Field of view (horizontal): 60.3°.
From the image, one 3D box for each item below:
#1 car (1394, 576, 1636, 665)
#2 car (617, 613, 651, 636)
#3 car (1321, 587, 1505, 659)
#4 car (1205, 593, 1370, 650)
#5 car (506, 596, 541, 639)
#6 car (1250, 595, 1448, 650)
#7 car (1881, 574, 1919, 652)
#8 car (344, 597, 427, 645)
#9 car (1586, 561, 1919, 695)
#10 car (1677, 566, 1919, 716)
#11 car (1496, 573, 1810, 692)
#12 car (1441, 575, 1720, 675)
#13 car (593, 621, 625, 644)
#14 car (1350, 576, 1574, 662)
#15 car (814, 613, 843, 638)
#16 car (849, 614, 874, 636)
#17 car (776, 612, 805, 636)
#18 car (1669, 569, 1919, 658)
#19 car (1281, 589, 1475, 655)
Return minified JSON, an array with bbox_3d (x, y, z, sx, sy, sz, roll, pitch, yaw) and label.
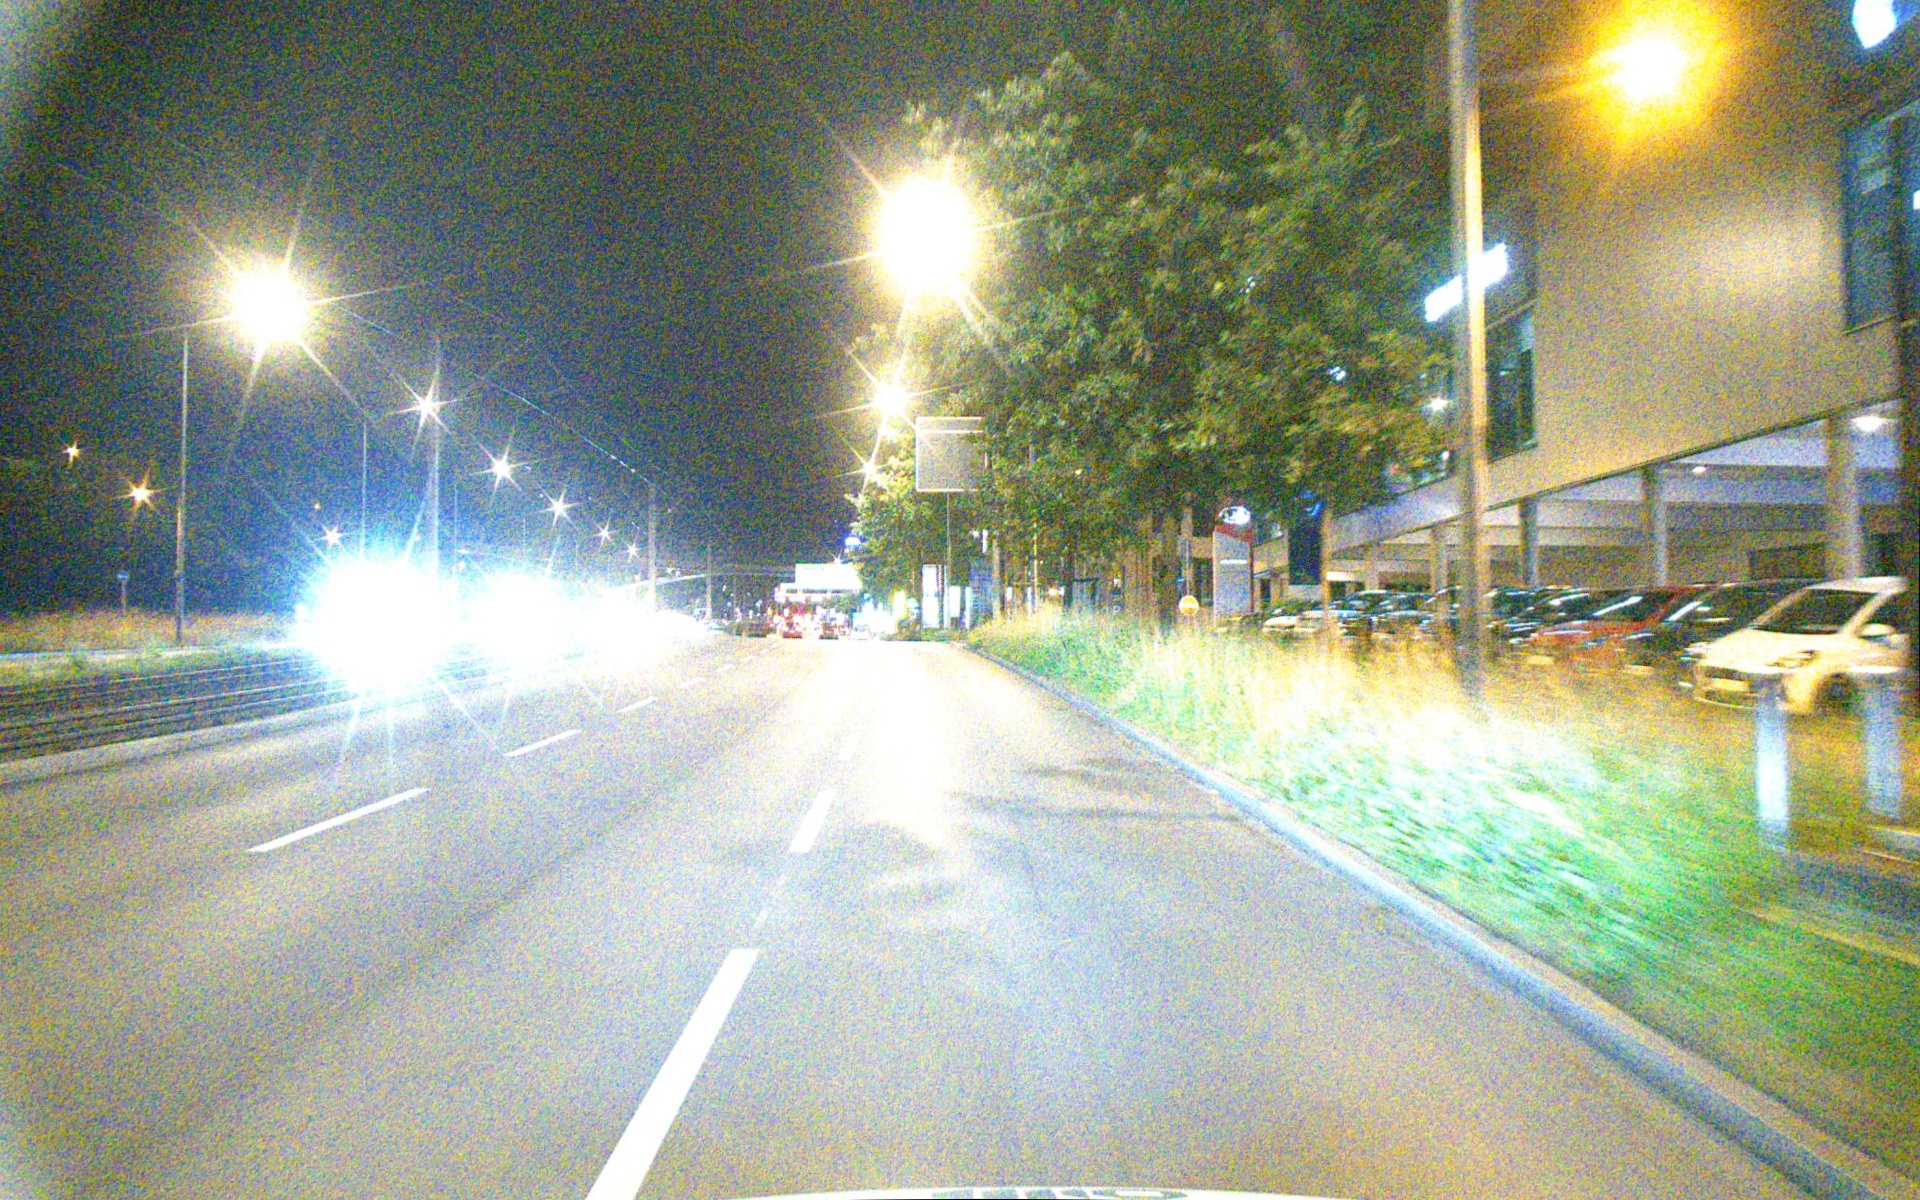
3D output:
[{"bbox_3d":[9.942,0.329,29.631,3.935,1.416,1.813,-2,1,-24],"label":"car"},{"bbox_3d":[-22.572,1.695,114.632,1.588,1.465,4.335,-1,-1,-3],"label":"car"},{"bbox_3d":[9.594,0.496,35.030,3.556,1.459,1.666,1,-1,-26],"label":"car"},{"bbox_3d":[8.966,0.600,45.414,4.054,1.445,1.869,1,-1,-16],"label":"car"},{"bbox_3d":[-29.742,1.238,112.812,2.109,2.718,6.936,-2,-1,-14],"label":"car"},{"bbox_3d":[9.524,0.523,40.442,4.573,1.286,1.931,0,0,-27],"label":"car"},{"bbox_3d":[22.387,0.314,37.021,4.278,1.683,1.634,1,-1,-39],"label":"car"},{"bbox_3d":[-21.679,0.783,62.567,1.743,1.743,4.225,1,-1,-2],"label":"car"},{"bbox_3d":[10.307,0.338,21.519,3.706,1.402,1.710,-4,0,-15],"label":"car"},{"bbox_3d":[10.360,0.405,18.856,3.740,1.478,1.710,-3,0,-16],"label":"car"},{"bbox_3d":[10.076,0.447,24.108,3.961,1.397,1.817,-4,0,-18],"label":"car"},{"bbox_3d":[10.126,0.386,27.100,3.918,1.405,1.803,-3,0,-13],"label":"car"},{"bbox_3d":[-26.365,2.430,124.252,1.955,1.622,3.994,-1,0,-7],"label":"car"},{"bbox_3d":[9.868,0.356,32.521,3.930,1.495,1.821,-2,0,-21],"label":"car"},{"bbox_3d":[-11.479,2.245,144.819,2.308,2.166,4.824,1,-1,-2],"label":"car"},{"bbox_3d":[-10.033,2.501,168.219,2.378,2.150,4.824,1,-1,-2],"label":"car"},{"bbox_3d":[-15.231,2.158,148.595,2.217,2.049,4.824,1,-1,-2],"label":"car"},{"bbox_3d":[14.871,0.231,29.638,1.607,1.490,3.749,0,0,-34],"label":"car"},{"bbox_3d":[9.530,0.481,37.721,3.927,1.448,1.899,0,0,-20],"label":"car"}]
